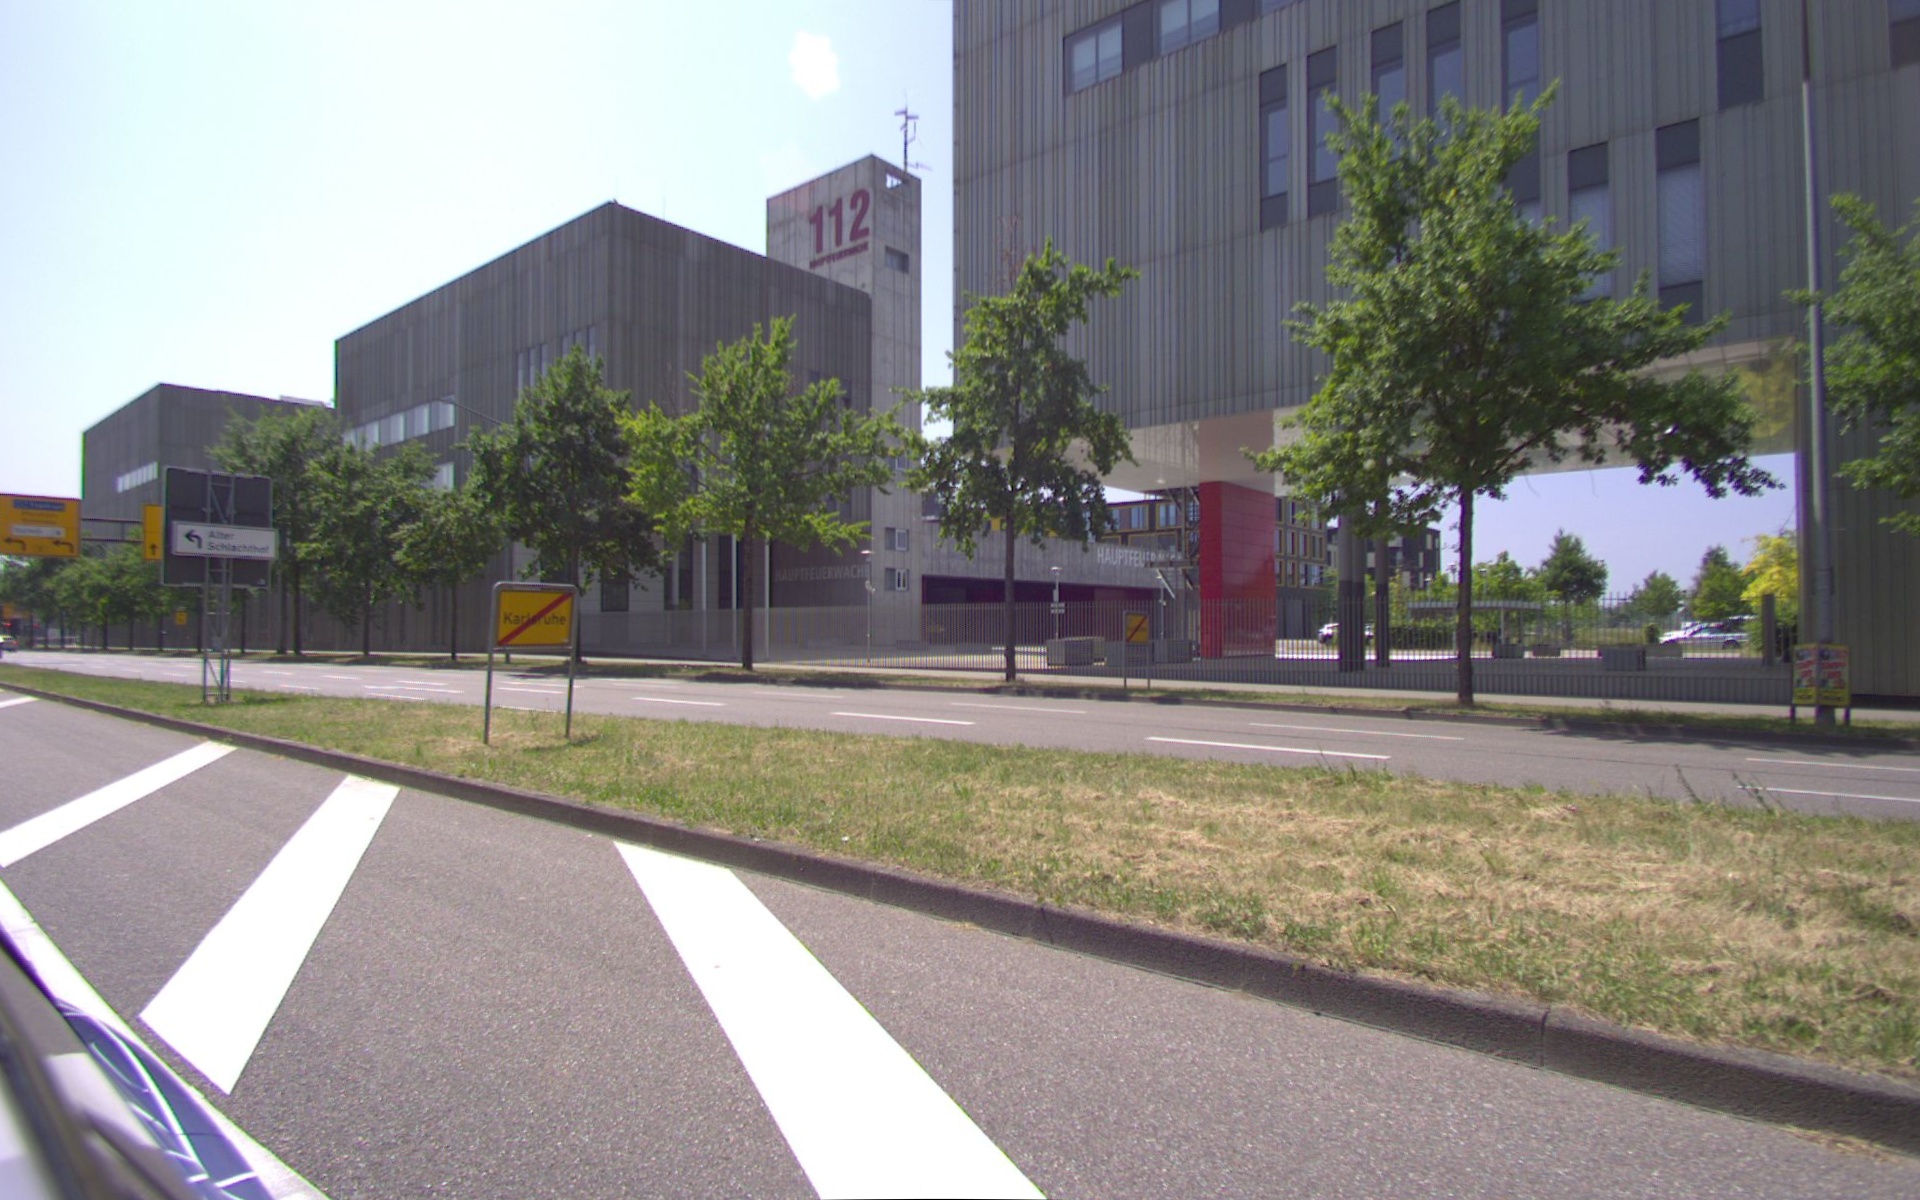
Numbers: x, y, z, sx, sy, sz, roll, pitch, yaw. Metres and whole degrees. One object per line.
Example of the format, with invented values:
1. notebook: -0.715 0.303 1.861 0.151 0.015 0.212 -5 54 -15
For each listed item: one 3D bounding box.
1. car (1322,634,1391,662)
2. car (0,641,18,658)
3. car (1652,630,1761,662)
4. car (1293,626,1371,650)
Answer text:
1. car: 25.168 3.053 64.299 3.773 1.709 1.639 -2 -2 42
2. car: -83.768 4.312 88.296 4.356 1.438 1.791 -2 -4 41
3. car: 39.816 2.435 54.020 4.521 1.594 2.002 -2 -2 42
4. car: 22.662 2.281 61.689 3.998 1.397 1.972 -2 -2 42
